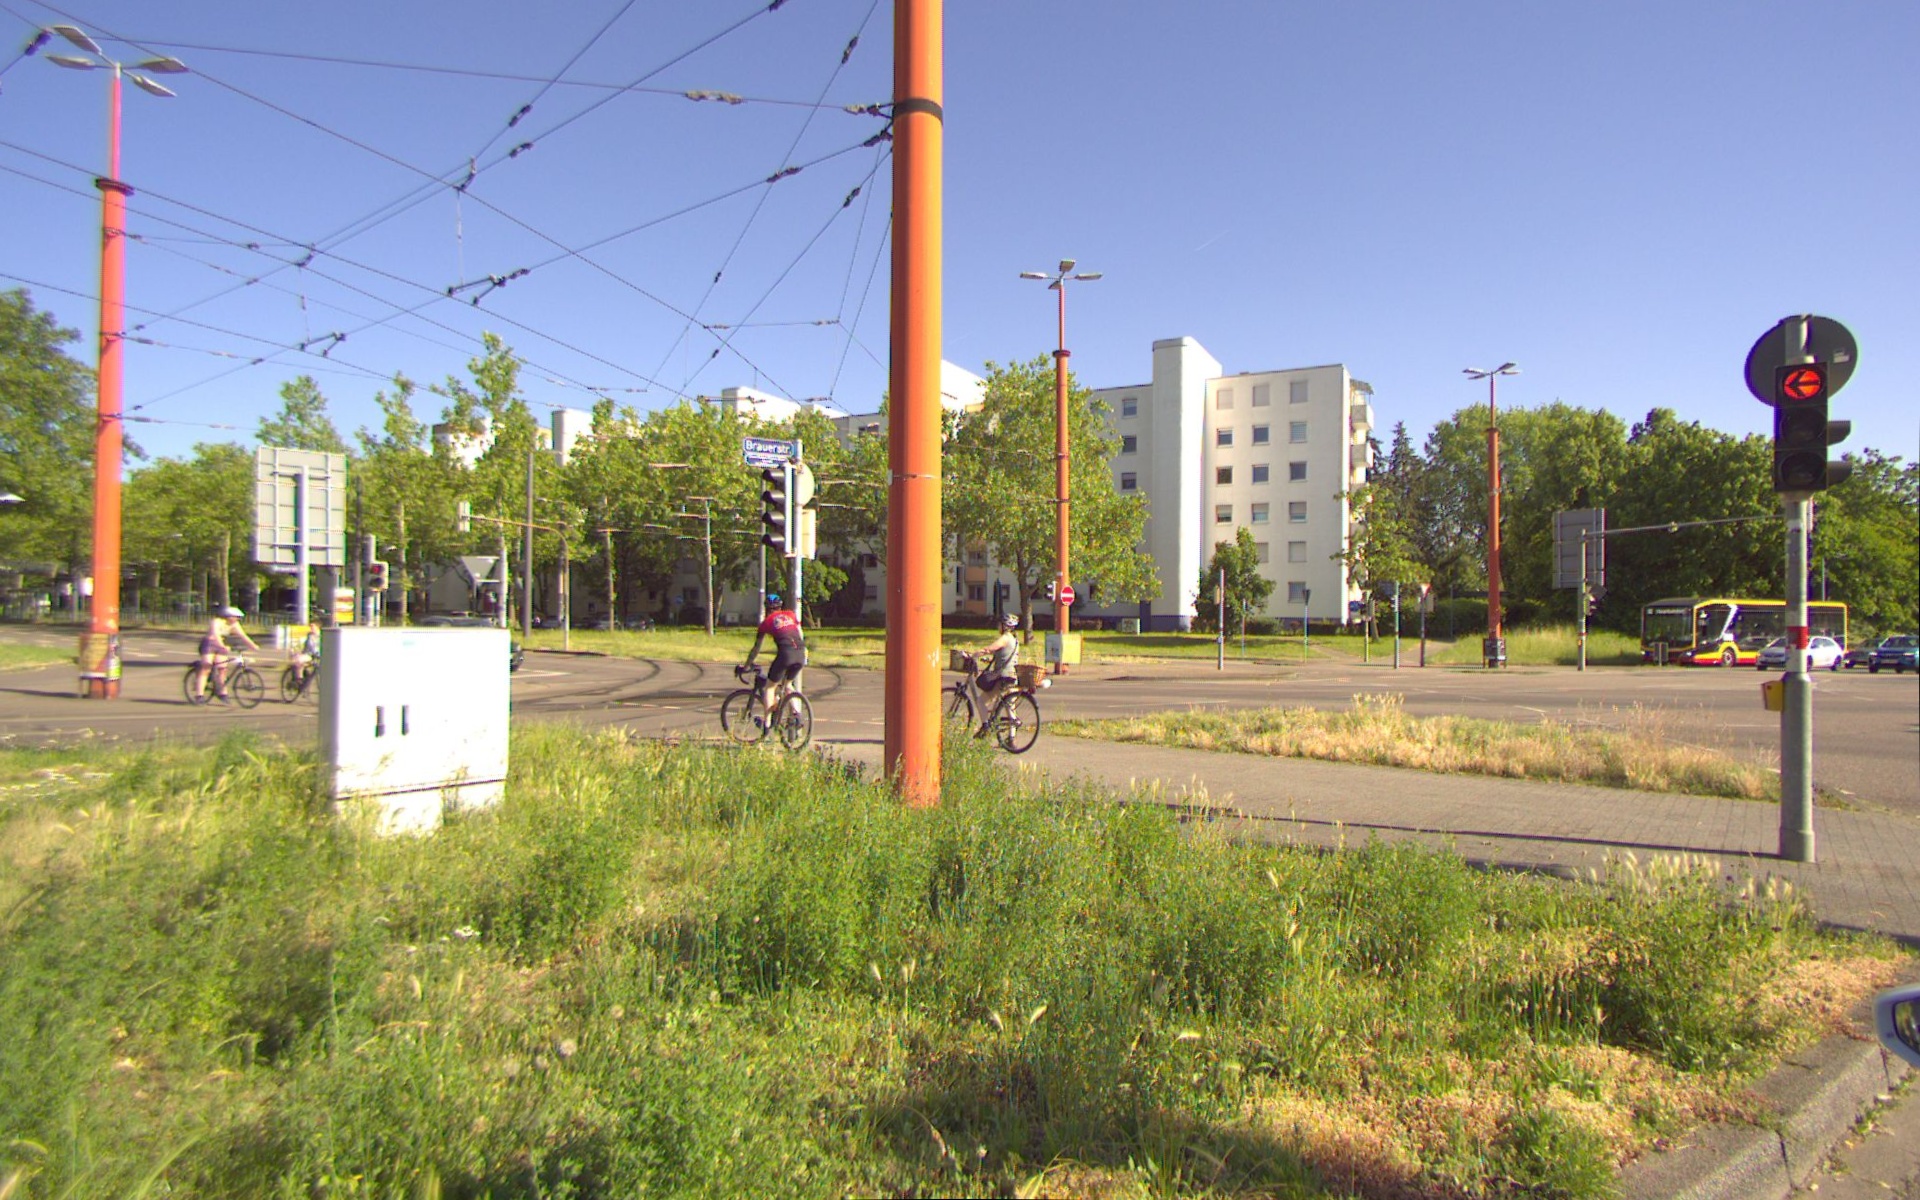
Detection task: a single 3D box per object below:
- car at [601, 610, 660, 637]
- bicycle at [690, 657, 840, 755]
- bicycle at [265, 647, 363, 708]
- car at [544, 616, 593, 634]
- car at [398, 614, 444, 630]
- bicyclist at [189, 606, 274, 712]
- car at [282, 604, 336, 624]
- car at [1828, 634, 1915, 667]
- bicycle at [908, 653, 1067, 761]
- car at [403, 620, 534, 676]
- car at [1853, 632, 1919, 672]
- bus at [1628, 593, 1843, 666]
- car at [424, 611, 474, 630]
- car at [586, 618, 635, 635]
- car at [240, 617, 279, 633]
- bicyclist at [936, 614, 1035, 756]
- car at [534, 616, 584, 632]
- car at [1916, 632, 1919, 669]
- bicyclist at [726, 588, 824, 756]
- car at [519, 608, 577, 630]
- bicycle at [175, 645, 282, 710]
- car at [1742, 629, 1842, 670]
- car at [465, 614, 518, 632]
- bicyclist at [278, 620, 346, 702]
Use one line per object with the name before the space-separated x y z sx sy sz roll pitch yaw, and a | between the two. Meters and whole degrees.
car | -23.671 1.689 72.296 3.874 1.841 1.651 2 0 -13
bicycle | -2.404 1.257 12.283 1.884 1.085 0.690 -2 -2 35
bicycle | -12.861 1.529 19.997 1.878 1.086 0.580 2 0 19
car | -29.333 1.876 75.339 3.219 1.172 1.357 2 0 -12
car | -46.631 1.909 86.954 3.370 1.204 1.439 2 0 -23
bicyclist | -13.602 1.076 18.775 0.905 1.892 0.893 2 0 17
car | -66.306 1.446 102.356 4.274 2.010 1.932 1 -1 -19
car | 43.132 2.370 47.530 3.952 1.533 1.877 1 -2 -29
bicycle | 0.312 1.247 12.185 1.887 1.146 0.737 0 -1 41
car | -15.225 1.433 31.097 3.977 1.516 1.913 2 0 34
car | 37.293 2.036 39.764 3.813 1.535 1.793 1 -3 -30
bus | 38.767 1.502 50.038 12.354 3.304 2.640 2 0 -22
car | -43.264 1.747 85.099 3.592 1.480 1.608 2 0 -19
car | -25.836 1.982 74.312 3.279 1.149 1.321 2 0 -11
car | -68.463 2.435 98.171 3.884 1.522 1.833 -1 -3 35
bicyclist | 0.311 0.997 12.227 0.815 1.643 0.888 0 -1 41
car | -30.901 1.843 77.436 3.346 1.162 1.305 2 0 -13
car | 42.603 2.165 42.714 3.955 1.575 1.891 2 -2 -32
bicyclist | -2.244 0.853 12.177 0.975 1.938 0.685 -1 -2 34
car | -32.553 1.492 79.432 3.868 1.614 1.656 2 0 -8
bicycle | -13.645 1.432 18.733 1.877 1.086 0.580 2 0 17
car | 35.363 2.106 42.685 4.168 1.673 1.869 2 -3 -29
car | -38.845 1.903 83.388 3.665 1.349 1.496 2 0 -8
bicyclist | -12.899 1.195 20.004 0.906 1.545 0.720 2 0 20
